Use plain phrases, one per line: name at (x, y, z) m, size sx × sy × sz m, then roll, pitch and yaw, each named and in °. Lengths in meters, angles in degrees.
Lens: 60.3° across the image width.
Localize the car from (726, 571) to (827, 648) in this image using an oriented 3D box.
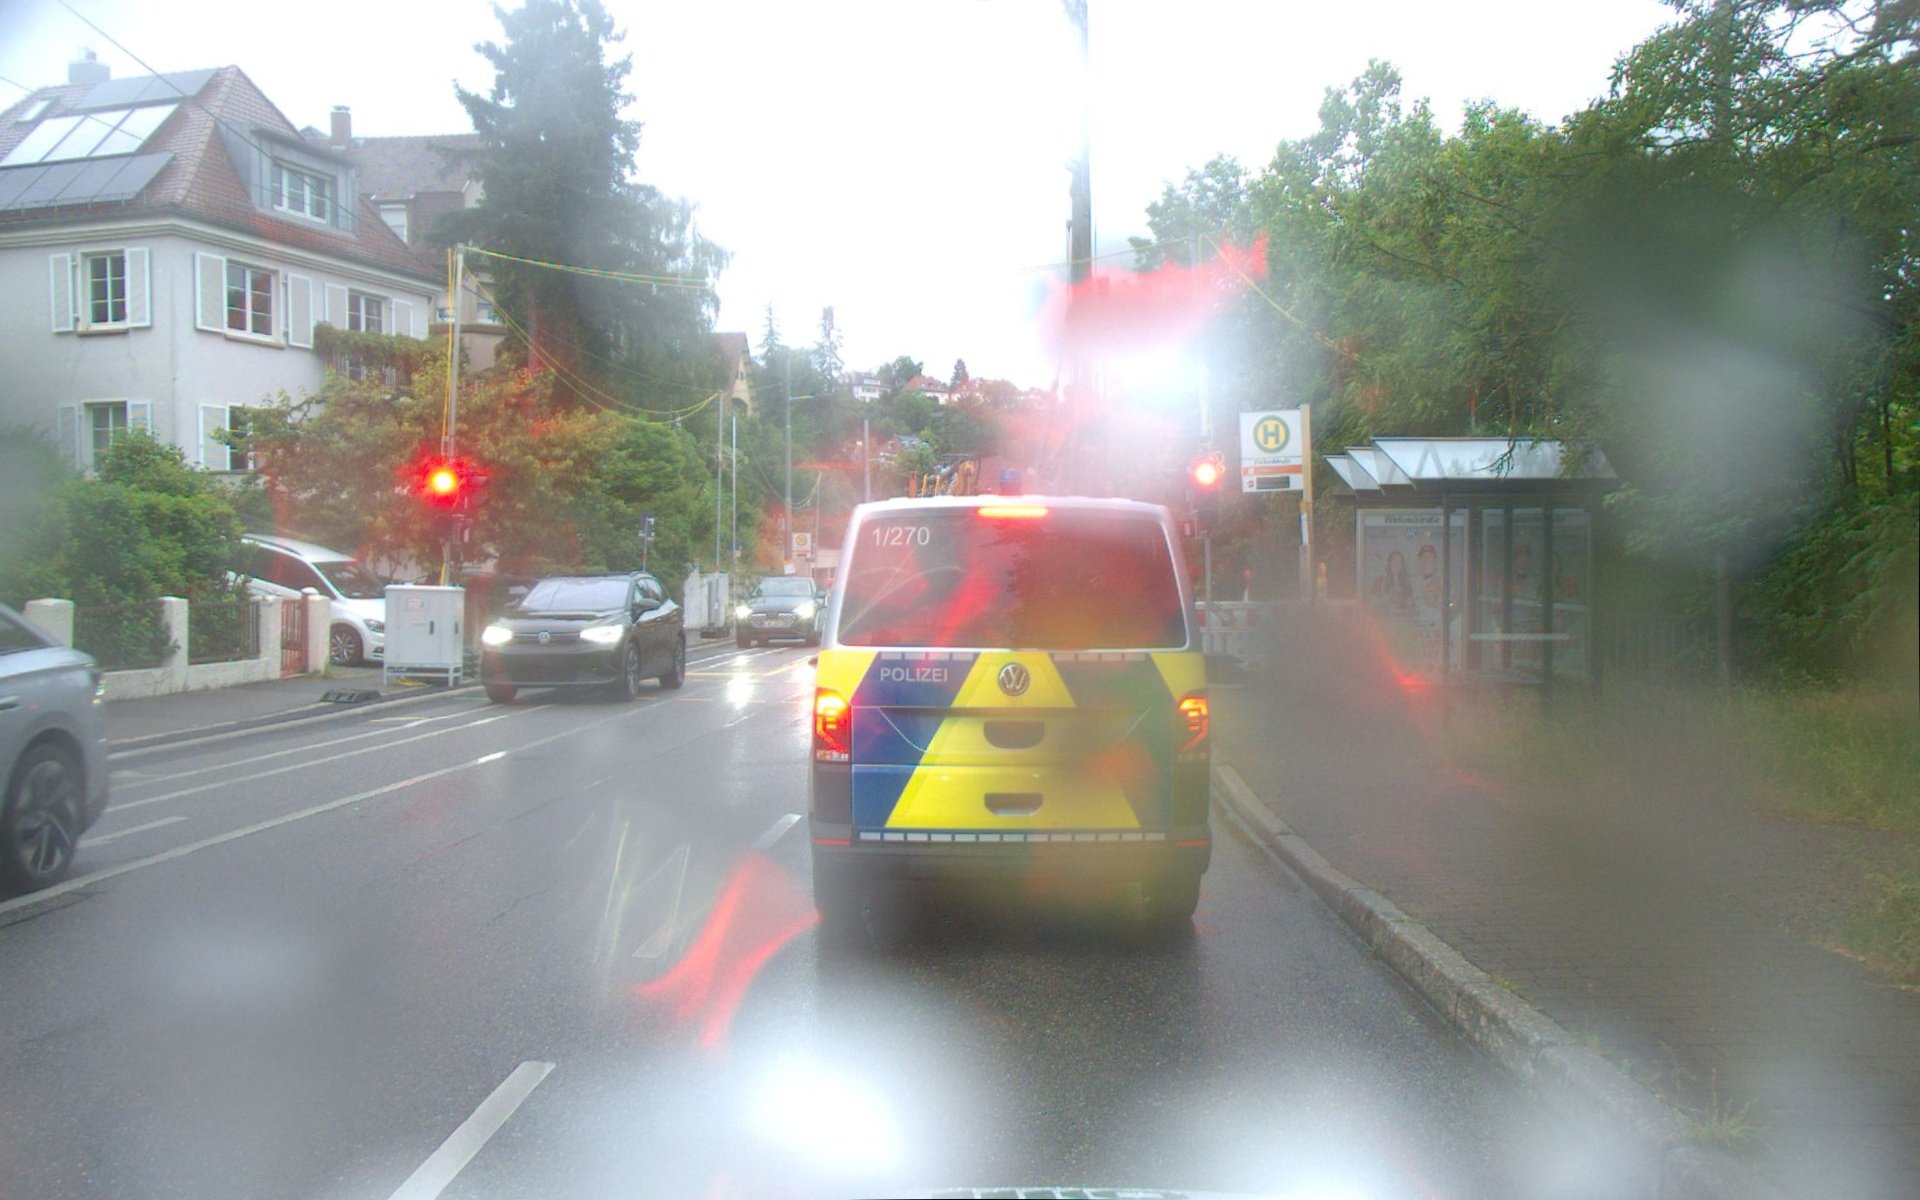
car at (-4.371, 0.213, 40.024) m, size 1.953 × 1.703 × 4.687 m, roll 1°, pitch 0°, yaw -1°

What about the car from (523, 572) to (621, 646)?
car at (-8.917, 0.176, 37.828) m, size 1.739 × 1.512 × 3.721 m, roll 1°, pitch 2°, yaw -20°

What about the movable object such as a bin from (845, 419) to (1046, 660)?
movable object such as a bin at (-0.171, -1.094, 31.639) m, size 2.770 × 4.250 × 4.384 m, roll 1°, pitch 0°, yaw 14°

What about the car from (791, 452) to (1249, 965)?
car at (0.222, 0.436, 8.821) m, size 1.855 × 2.086 × 3.999 m, roll 1°, pitch 0°, yaw -1°

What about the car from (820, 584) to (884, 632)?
car at (-3.520, 0.250, 54.652) m, size 1.727 × 1.488 × 3.887 m, roll 1°, pitch 1°, yaw 1°

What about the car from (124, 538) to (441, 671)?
car at (-11.214, 0.056, 27.490) m, size 4.532 × 2.042 × 1.902 m, roll 1°, pitch 0°, yaw 11°

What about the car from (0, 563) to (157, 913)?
car at (-5.140, 0.596, 6.375) m, size 1.815 × 1.554 × 4.818 m, roll 1°, pitch 0°, yaw -2°

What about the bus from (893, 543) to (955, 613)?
bus at (-1.993, -1.241, 96.221) m, size 2.782 × 3.783 × 12.009 m, roll 1°, pitch 0°, yaw 2°

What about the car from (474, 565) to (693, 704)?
car at (-4.842, 0.412, 21.888) m, size 1.828 × 1.650 × 4.165 m, roll -1°, pitch 0°, yaw 2°
